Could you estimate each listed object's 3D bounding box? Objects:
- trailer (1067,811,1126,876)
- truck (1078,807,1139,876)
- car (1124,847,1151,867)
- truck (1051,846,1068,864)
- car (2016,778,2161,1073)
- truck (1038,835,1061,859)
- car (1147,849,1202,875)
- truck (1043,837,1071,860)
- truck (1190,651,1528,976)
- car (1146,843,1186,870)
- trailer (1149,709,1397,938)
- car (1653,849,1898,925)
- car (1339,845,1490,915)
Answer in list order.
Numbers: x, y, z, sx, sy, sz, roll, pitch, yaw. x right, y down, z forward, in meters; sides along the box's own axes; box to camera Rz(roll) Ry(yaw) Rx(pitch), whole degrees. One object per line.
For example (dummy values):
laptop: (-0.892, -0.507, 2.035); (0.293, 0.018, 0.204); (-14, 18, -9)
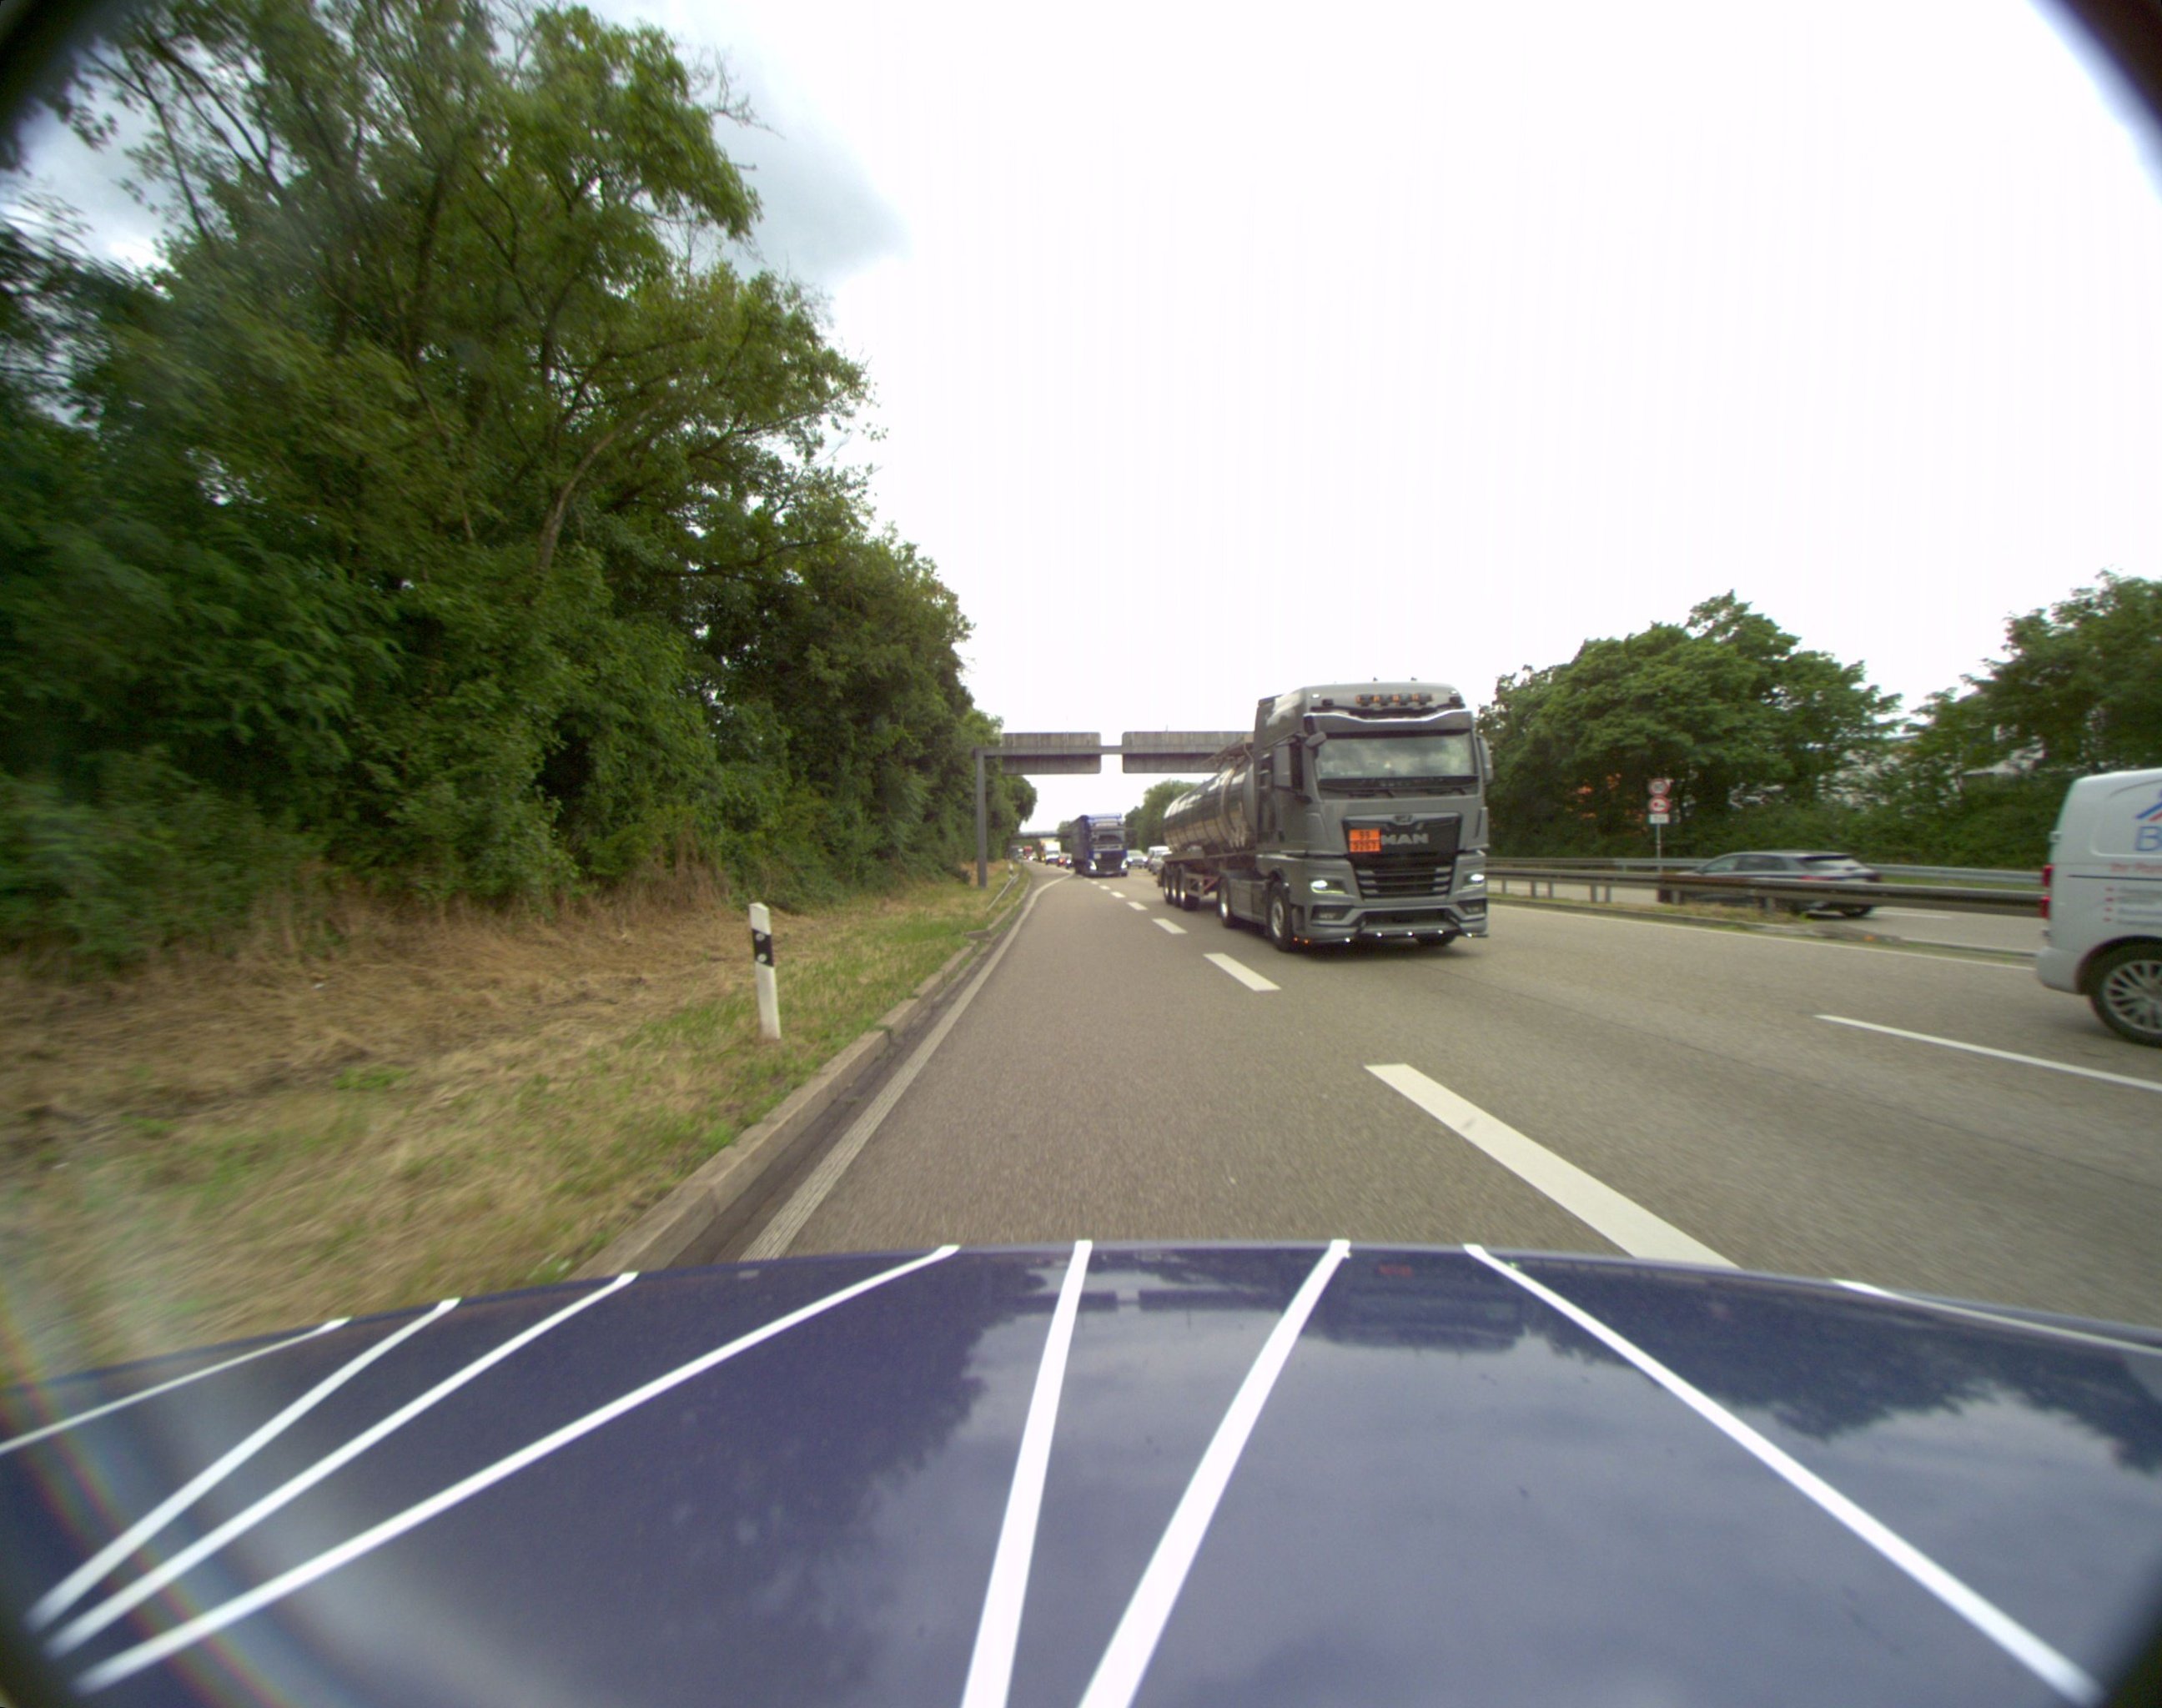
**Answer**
trailer: (0.882, -0.755, 55.546); (2.846, 4.013, 13.079); (-3, 1, -4)
truck: (1.589, -0.736, 48.591); (2.962, 3.946, 7.467); (-2, 1, -4)
car: (4.967, 0.250, 67.145); (1.849, 1.642, 3.999); (-1, 0, -2)
truck: (-2.530, 0.131, 89.333); (1.894, 2.002, 6.089); (-1, 0, -2)
car: (7.812, 0.450, 3.147); (1.855, 1.881, 4.876); (-1, 0, -1)
truck: (-5.780, -1.264, 139.432); (3.367, 4.041, 10.177); (-3, 1, -6)
car: (5.654, 0.473, 46.674); (2.064, 1.455, 5.254); (-1, 0, -7)
truck: (-3.490, -0.779, 109.116); (3.367, 3.099, 7.234); (-3, 1, -7)
truck: (3.891, -0.521, 12.658); (2.690, 3.884, 6.933); (-1, 0, -3)
car: (6.097, 0.143, 55.071); (1.852, 1.839, 5.004); (-1, 0, -6)
trailer: (3.798, -0.549, 18.531); (2.690, 3.884, 10.983); (-1, 0, -3)
car: (15.146, 0.627, 16.914); (1.677, 1.456, 3.998); (-1, 0, -3)
car: (8.058, 0.560, 18.837); (1.680, 1.489, 4.467); (-1, 0, -1)
